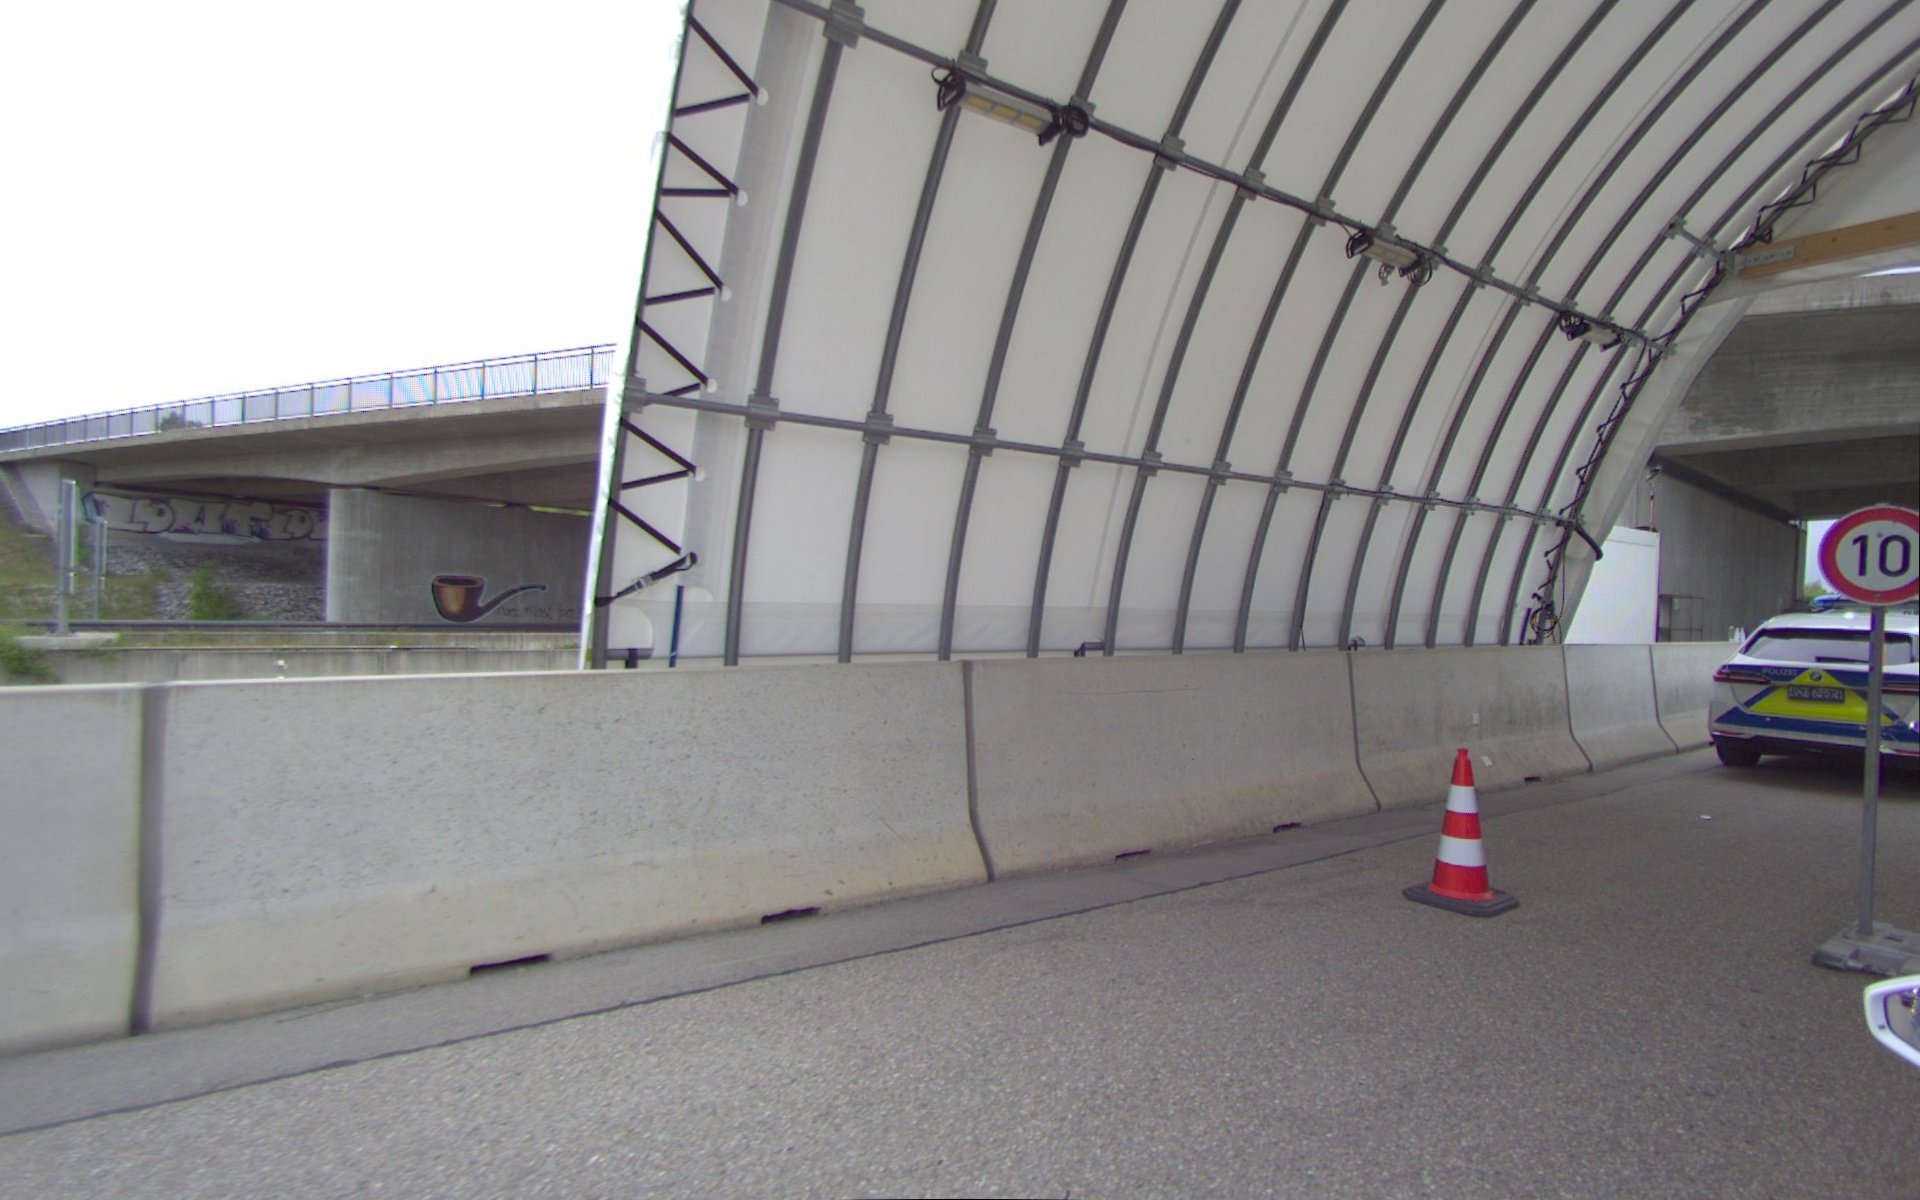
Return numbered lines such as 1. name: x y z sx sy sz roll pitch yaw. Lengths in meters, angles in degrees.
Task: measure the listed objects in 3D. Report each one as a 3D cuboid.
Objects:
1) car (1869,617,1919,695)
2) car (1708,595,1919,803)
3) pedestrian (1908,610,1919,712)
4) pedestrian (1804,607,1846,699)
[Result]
1. car: 26.205 1.466 25.221 1.810 2.040 4.807 1 -1 -15
2. car: 8.959 0.846 9.656 3.964 1.668 1.864 2 -2 -38
3. pedestrian: 19.619 1.226 20.139 0.693 2.040 0.688 1 -1 -23
4. pedestrian: 19.441 1.176 22.574 0.650 2.040 0.619 1 -1 -39
